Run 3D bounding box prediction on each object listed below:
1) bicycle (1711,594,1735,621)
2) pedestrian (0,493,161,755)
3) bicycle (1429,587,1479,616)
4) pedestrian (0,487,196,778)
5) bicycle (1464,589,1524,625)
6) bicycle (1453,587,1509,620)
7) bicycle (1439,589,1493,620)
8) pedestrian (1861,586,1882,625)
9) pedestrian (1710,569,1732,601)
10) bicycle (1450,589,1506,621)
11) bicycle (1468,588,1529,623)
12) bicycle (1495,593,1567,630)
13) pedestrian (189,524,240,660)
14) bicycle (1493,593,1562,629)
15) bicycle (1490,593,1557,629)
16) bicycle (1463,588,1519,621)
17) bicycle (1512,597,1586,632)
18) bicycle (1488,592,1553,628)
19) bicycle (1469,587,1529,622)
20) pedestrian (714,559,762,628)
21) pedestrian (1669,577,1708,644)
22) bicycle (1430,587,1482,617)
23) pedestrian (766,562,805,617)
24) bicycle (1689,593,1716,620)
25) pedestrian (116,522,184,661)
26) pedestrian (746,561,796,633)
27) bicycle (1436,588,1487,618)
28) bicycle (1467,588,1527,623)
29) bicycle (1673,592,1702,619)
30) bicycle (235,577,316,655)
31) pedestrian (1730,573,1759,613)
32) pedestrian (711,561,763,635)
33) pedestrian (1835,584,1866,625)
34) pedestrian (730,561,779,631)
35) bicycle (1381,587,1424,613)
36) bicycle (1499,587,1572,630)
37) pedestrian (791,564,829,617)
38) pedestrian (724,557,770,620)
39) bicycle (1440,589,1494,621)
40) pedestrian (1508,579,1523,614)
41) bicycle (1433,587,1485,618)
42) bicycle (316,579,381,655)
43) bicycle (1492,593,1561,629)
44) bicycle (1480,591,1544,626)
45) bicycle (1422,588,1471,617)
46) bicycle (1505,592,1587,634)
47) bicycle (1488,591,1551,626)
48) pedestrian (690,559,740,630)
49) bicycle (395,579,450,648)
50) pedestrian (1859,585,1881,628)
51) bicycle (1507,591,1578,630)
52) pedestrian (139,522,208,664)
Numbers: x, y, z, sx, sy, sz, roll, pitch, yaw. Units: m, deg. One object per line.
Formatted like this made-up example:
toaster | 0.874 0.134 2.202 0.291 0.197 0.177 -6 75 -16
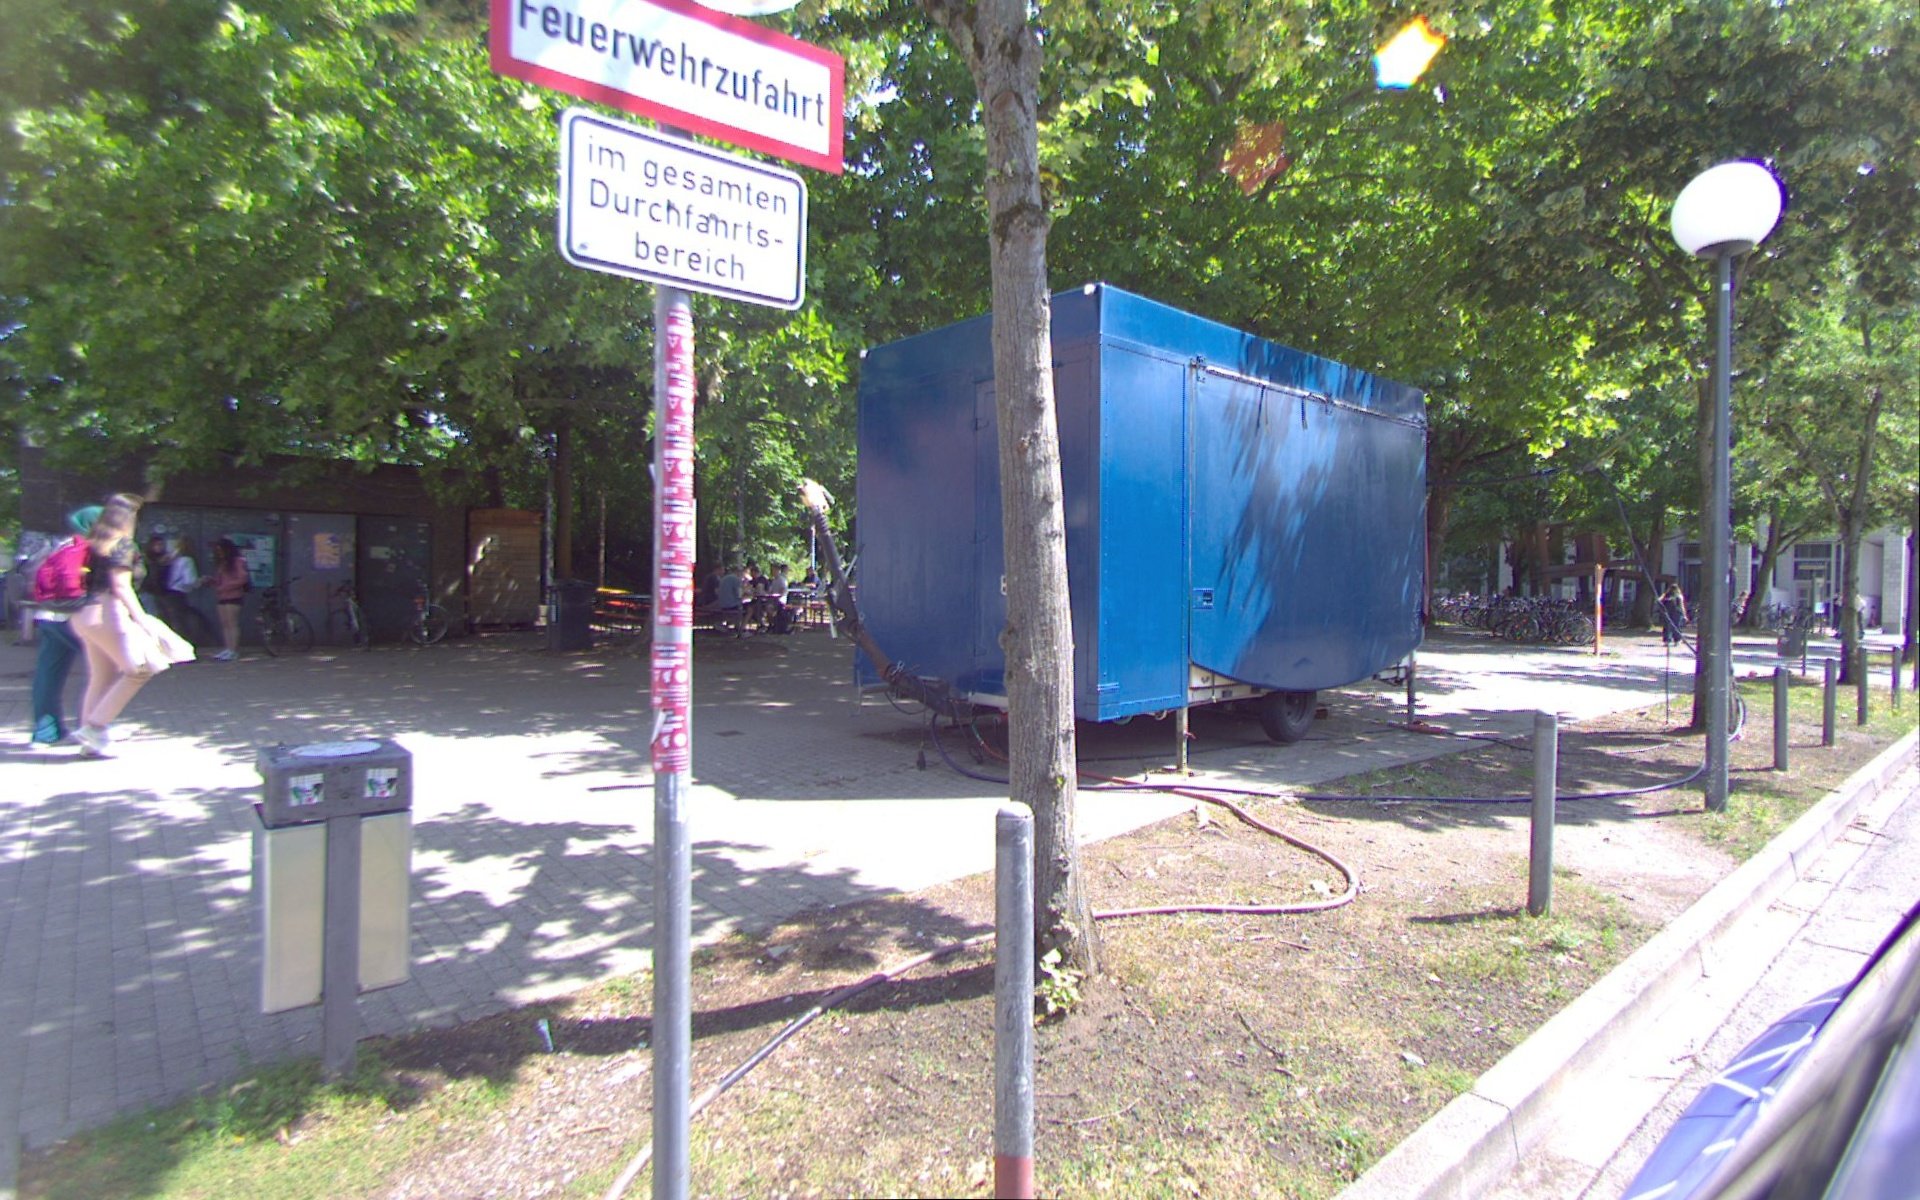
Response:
bicycle | 32.668 0.325 43.303 1.447 1.099 0.460 2 1 -40
pedestrian | -6.139 0.124 6.952 0.933 1.658 0.877 -2 3 -42
bicycle | 20.760 0.067 42.554 1.815 1.185 0.387 2 0 10
pedestrian | -5.443 0.157 6.372 0.932 1.658 0.877 -1 3 -41
bicycle | 18.342 0.238 34.781 1.767 1.185 0.401 2 0 15
bicycle | 19.577 0.130 38.062 1.817 1.185 0.344 2 0 12
bicycle | 19.891 0.175 39.815 1.817 1.185 0.352 2 0 13
pedestrian | 41.162 0.256 45.681 0.533 1.751 0.613 0 1 -40
pedestrian | 44.252 -0.866 58.847 0.793 1.819 0.621 1 1 -9
bicycle | 19.647 0.186 38.401 1.817 1.185 0.344 2 0 13
bicycle | 18.991 0.188 35.695 1.819 1.185 0.401 2 0 15
bicycle | 16.961 0.328 30.080 1.772 1.041 0.438 2 1 17
pedestrian | -10.692 -0.113 14.525 0.519 1.907 0.449 1 0 -31
bicycle | 17.497 0.325 31.232 1.769 1.041 0.380 2 1 18
bicycle | 17.858 0.330 32.111 1.770 1.083 0.424 2 1 19
bicycle | 19.517 0.157 37.213 1.811 1.185 0.345 1 0 2
bicycle | 16.539 0.402 28.437 1.717 0.921 0.491 2 1 20
bicycle | 17.996 0.319 32.527 1.770 1.083 0.424 2 1 19
bicycle | 19.179 0.166 36.027 1.819 1.185 0.344 2 0 15
pedestrian | -4.561 -0.130 20.823 0.570 1.363 0.717 5 3 44
pedestrian | 18.212 0.249 25.292 0.911 1.590 0.569 -4 5 -41
bicycle | 20.076 0.079 40.949 1.817 1.185 0.352 2 0 13
pedestrian | -4.279 -0.255 24.776 0.667 1.286 0.612 5 3 44
bicycle | 32.264 0.297 43.961 1.486 1.099 0.482 2 1 -36
pedestrian | -11.431 -0.133 14.286 0.523 1.906 0.555 2 2 21
pedestrian | -3.743 -0.064 20.002 0.570 1.363 0.717 5 3 44
bicycle | 20.664 0.128 41.719 1.817 1.185 0.352 2 0 13
bicycle | 19.282 0.182 36.364 1.819 1.185 0.344 2 0 15
bicycle | 31.734 0.256 44.147 1.664 1.099 0.482 2 1 -36
bicycle | -10.434 0.206 15.498 0.767 1.085 2.408 0 1 -28
pedestrian | 34.853 -0.309 44.962 0.737 1.762 0.935 0 1 -44
pedestrian | -4.280 -0.047 19.408 0.570 1.363 0.717 5 3 44
pedestrian | 40.664 0.209 46.230 0.795 1.819 0.619 1 1 5
pedestrian | -4.151 -0.086 20.415 0.570 1.363 0.717 5 3 44
bicycle | 21.034 -0.006 48.081 1.812 1.185 0.345 1 0 4
bicycle | 16.481 0.234 28.986 1.712 1.169 0.493 2 0 13
pedestrian | -3.771 -0.234 25.471 0.667 1.286 0.612 5 3 44
pedestrian | -4.821 -0.253 22.930 0.667 1.363 0.708 5 3 44
bicycle | 19.777 0.184 39.458 1.817 1.185 0.352 2 0 13
pedestrian | 27.344 -0.163 49.838 0.426 1.725 0.930 -1 -1 44
bicycle | 20.006 0.090 40.600 1.817 1.185 0.352 2 0 13
bicycle | -9.718 0.225 16.038 0.768 1.085 2.405 0 1 -34
bicycle | 17.302 0.336 30.920 1.769 1.041 0.380 2 1 17
bicycle | 18.165 0.270 33.312 1.771 1.083 0.423 2 1 21
bicycle | 20.750 0.103 43.188 1.815 1.185 0.412 2 0 10
bicycle | 16.082 0.349 27.810 1.894 1.073 0.322 2 1 26
bicycle | 18.563 0.281 33.597 1.771 1.083 0.423 2 1 21
pedestrian | -4.836 -0.109 19.999 0.570 1.363 0.717 5 3 44
bicycle | -9.042 0.203 16.996 0.767 1.085 2.407 0 0 -29
pedestrian | 40.418 0.274 44.941 0.675 1.914 0.685 -1 1 -44
bicycle | 17.007 0.306 29.573 1.712 1.065 0.493 2 1 13
pedestrian | -10.752 -0.096 13.853 0.547 1.907 0.530 1 0 -11
